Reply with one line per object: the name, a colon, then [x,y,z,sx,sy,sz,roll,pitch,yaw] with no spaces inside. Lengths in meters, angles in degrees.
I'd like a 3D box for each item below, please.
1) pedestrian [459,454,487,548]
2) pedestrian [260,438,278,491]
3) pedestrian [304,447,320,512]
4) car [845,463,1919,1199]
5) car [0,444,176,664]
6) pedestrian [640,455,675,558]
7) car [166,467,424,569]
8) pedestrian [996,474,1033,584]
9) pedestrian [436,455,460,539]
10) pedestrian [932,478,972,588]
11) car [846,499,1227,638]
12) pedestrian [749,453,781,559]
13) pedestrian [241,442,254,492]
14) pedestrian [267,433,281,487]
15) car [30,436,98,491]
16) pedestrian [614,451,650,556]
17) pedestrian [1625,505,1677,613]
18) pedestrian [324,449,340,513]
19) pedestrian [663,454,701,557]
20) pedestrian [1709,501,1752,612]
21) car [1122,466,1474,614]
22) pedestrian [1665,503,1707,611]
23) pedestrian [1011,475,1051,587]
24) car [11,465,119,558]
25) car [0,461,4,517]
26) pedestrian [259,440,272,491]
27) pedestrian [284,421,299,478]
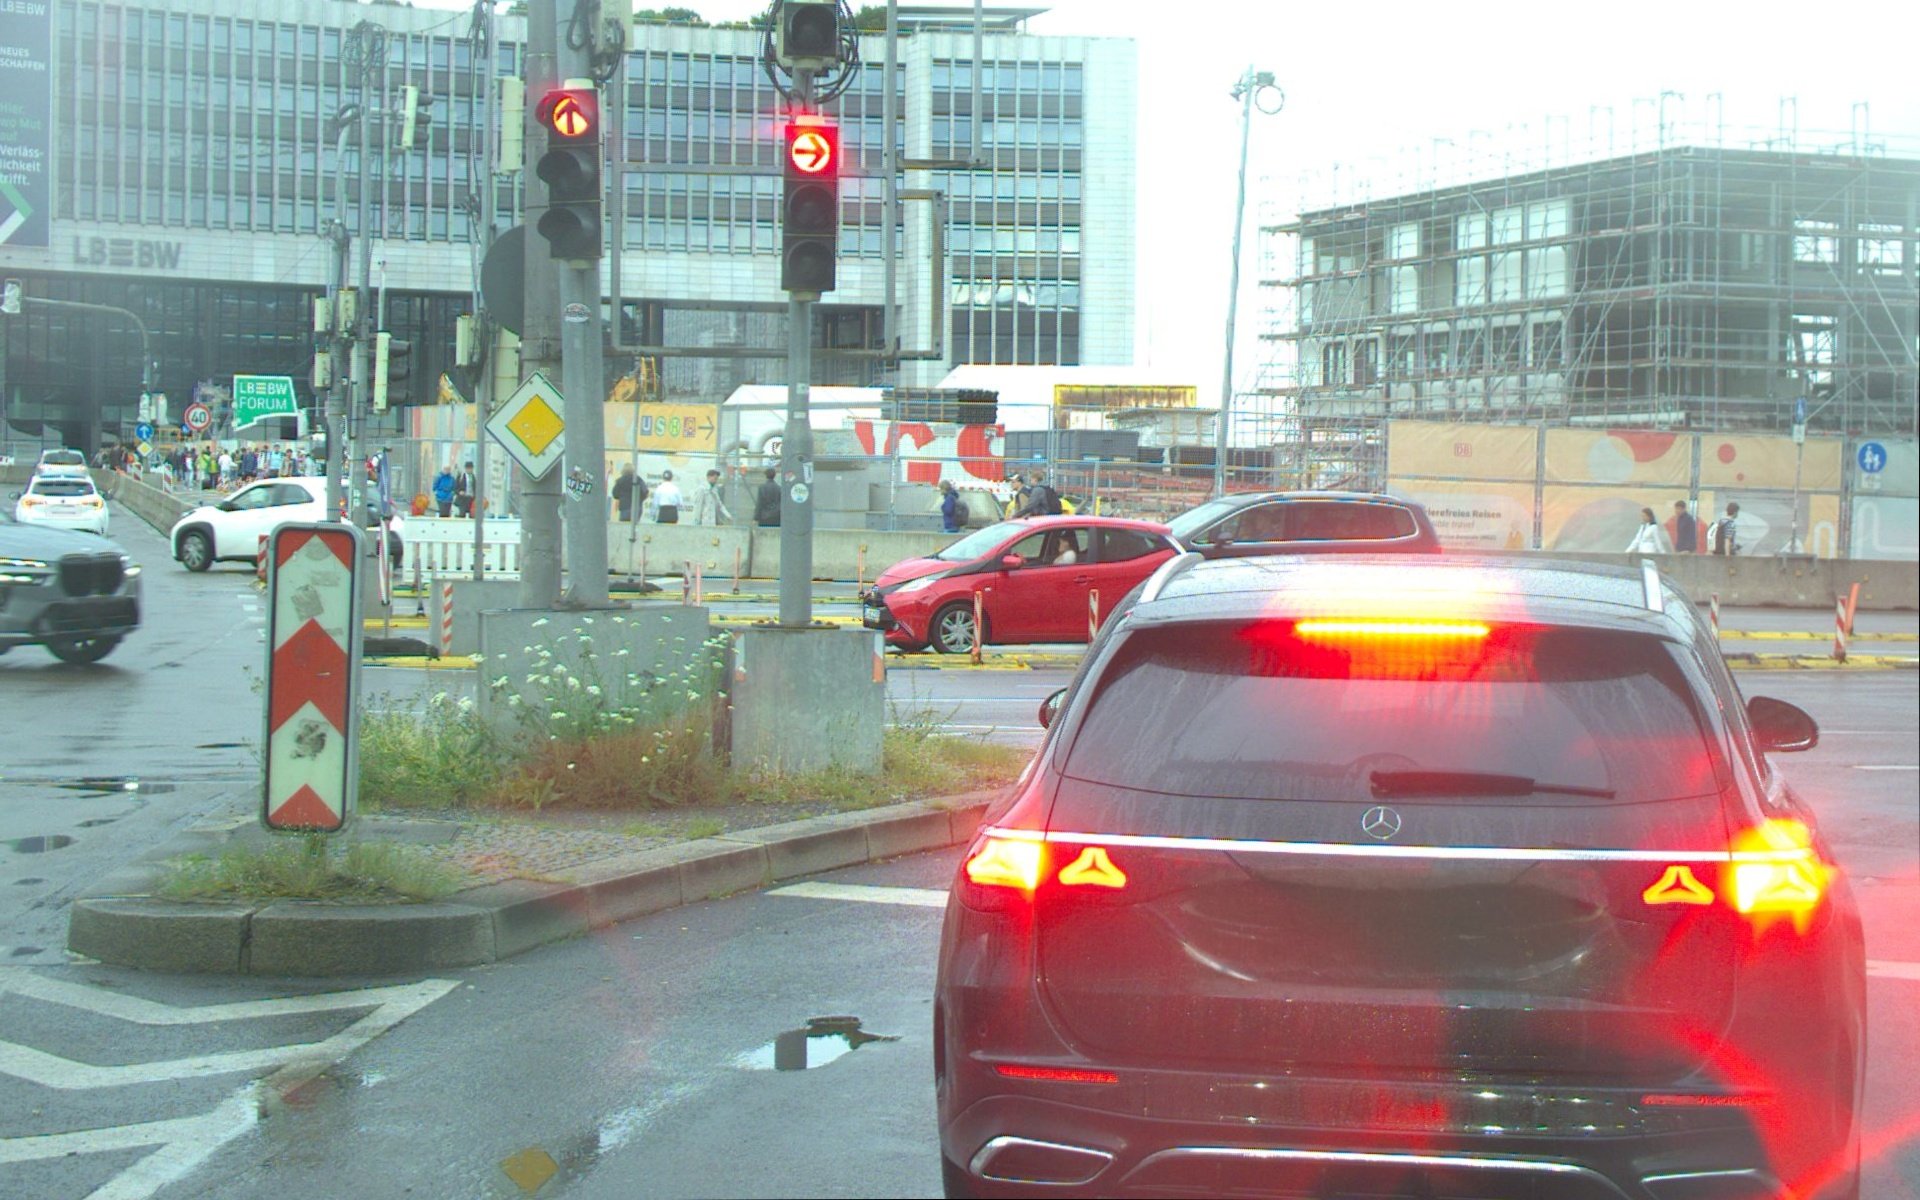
pedestrian: [-9.959,-2.021,70.266,0.361,1.891,0.576,2,0,-26]
pedestrian: [-25.181,-4.935,125.209,0.519,1.891,0.576,2,0,-18]
pedestrian: [-19.326,-3.594,102.528,0.361,1.891,0.576,2,0,-18]
car: [0.929,0.552,8.045,1.891,1.538,3.992,2,0,5]
car: [-9.562,-0.439,30.072,5.093,1.791,1.997,2,0,26]
pedestrian: [-5.568,-1.716,63.326,0.361,1.891,0.576,0,1,-41]
car: [-10.361,-1.281,53.536,3.552,1.468,1.784,2,0,26]
pedestrian: [0.946,-1.224,59.727,0.574,1.891,0.362,2,0,2]
pedestrian: [-11.711,-2.356,78.660,0.361,1.891,0.576,2,0,-22]
pedestrian: [-0.147,-1.167,60.023,0.575,1.891,0.362,2,0,13]
car: [0.775,-0.317,35.445,3.532,1.300,1.666,2,0,-19]
pedestrian: [-3.527,-1.690,62.078,0.361,1.891,0.576,2,0,-22]
pedestrian: [-27.216,-5.084,131.370,0.361,1.891,0.576,2,0,-18]
pedestrian: [-24.107,-4.921,120.835,0.361,1.891,0.576,2,0,-18]
car: [-30.204,-4.605,115.785,1.727,1.634,3.436,2,3,-22]
pedestrian: [-6.020,-1.770,63.130,0.361,1.891,0.576,2,0,-37]
pedestrian: [12.392,-0.735,61.700,0.655,1.895,0.632,2,0,-14]
pedestrian: [-18.764,-3.547,102.711,0.361,1.891,0.576,2,0,-18]
pedestrian: [-5.134,-1.744,63.487,0.361,1.891,0.576,2,0,-41]
pedestrian: [13.309,-0.757,59.365,0.574,1.891,0.362,2,0,-11]
car: [4.304,-0.753,44.017,3.985,1.728,2.001,2,0,-16]
pedestrian: [12.928,-0.765,61.211,0.574,1.891,0.362,2,0,-11]
pedestrian: [1.203,-1.170,58.379,0.574,1.891,0.362,2,0,-8]
car: [-18.094,-1.756,69.415,1.993,1.760,4.420,2,0,-15]
car: [-29.940,-3.333,102.715,1.993,1.634,4.001,2,0,-25]
pedestrian: [-26.581,-5.146,131.598,0.361,1.891,0.576,2,0,-18]
pedestrian: [-22.849,-5.138,117.498,0.361,1.891,0.576,2,0,-18]
